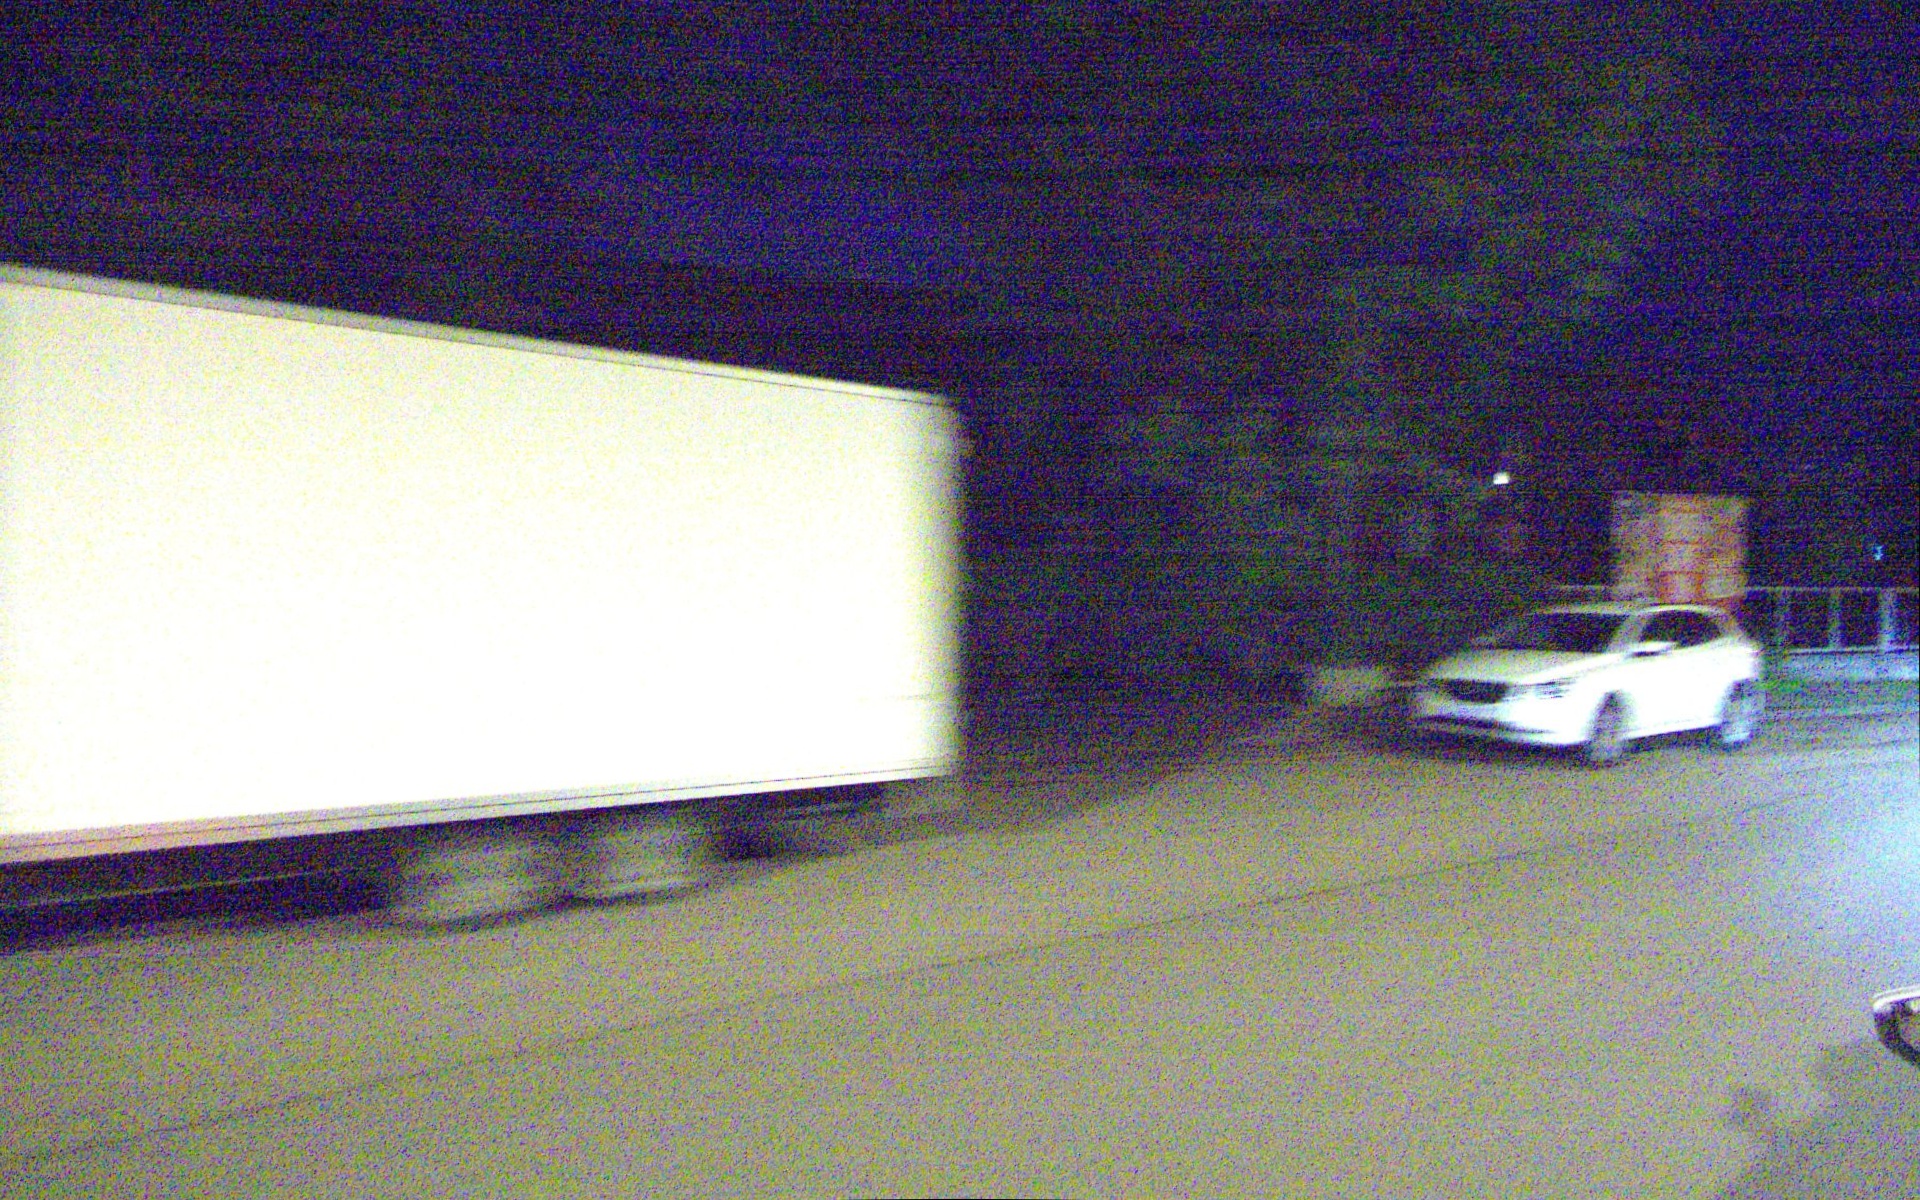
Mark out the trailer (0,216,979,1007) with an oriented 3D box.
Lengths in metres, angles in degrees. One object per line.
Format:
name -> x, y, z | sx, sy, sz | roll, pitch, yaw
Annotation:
trailer -> -2.390, 0.070, 5.558 | 4.565, 2.832, 2.193 | 1, -1, -32

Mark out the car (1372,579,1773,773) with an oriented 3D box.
car -> 6.999, 0.735, 11.362 | 4.638, 1.795, 1.983 | 1, -1, -31
